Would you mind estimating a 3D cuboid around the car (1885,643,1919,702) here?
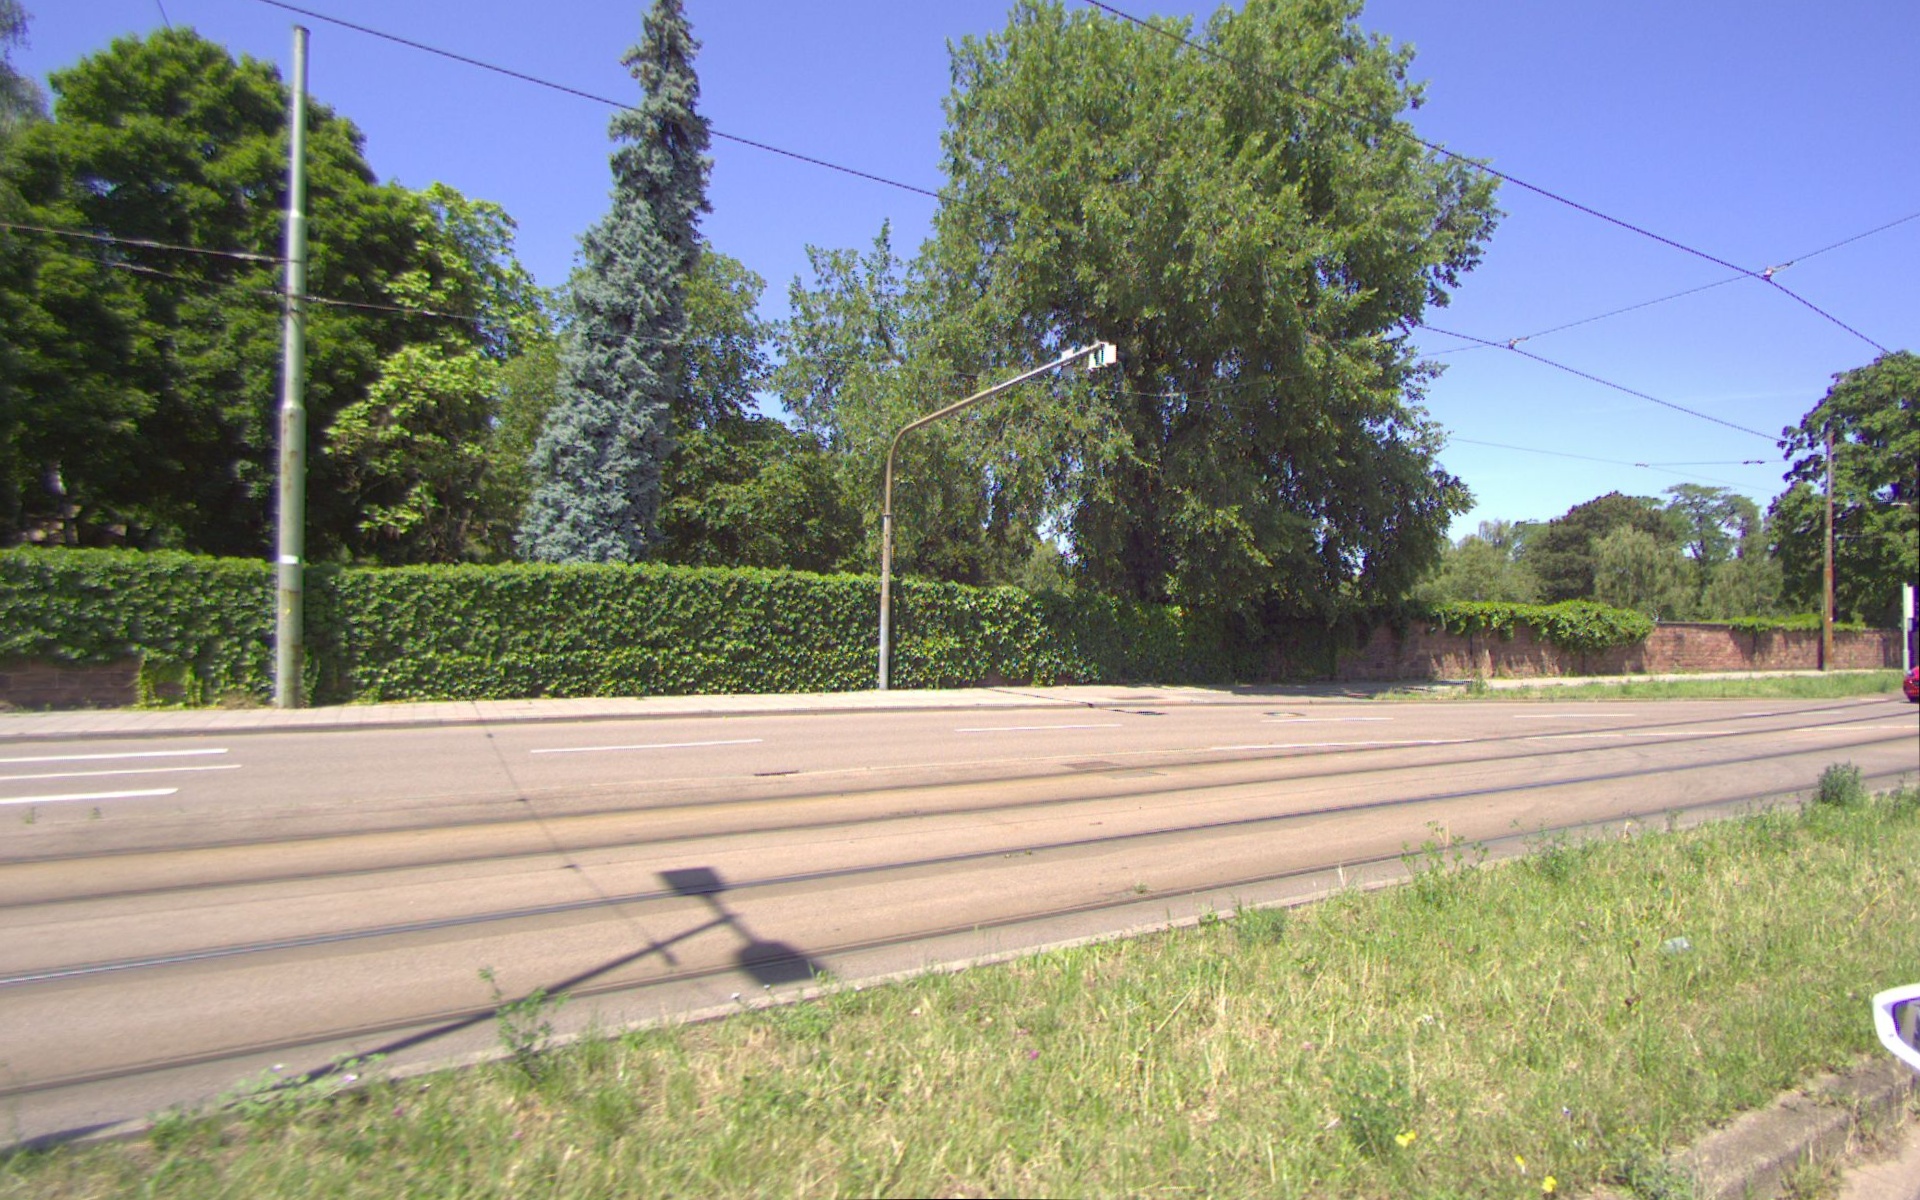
[{"bbox_3d":[25.852,1.845,25.517,4.216,1.432,1.704,1,-1,-20],"label":"car"}]
